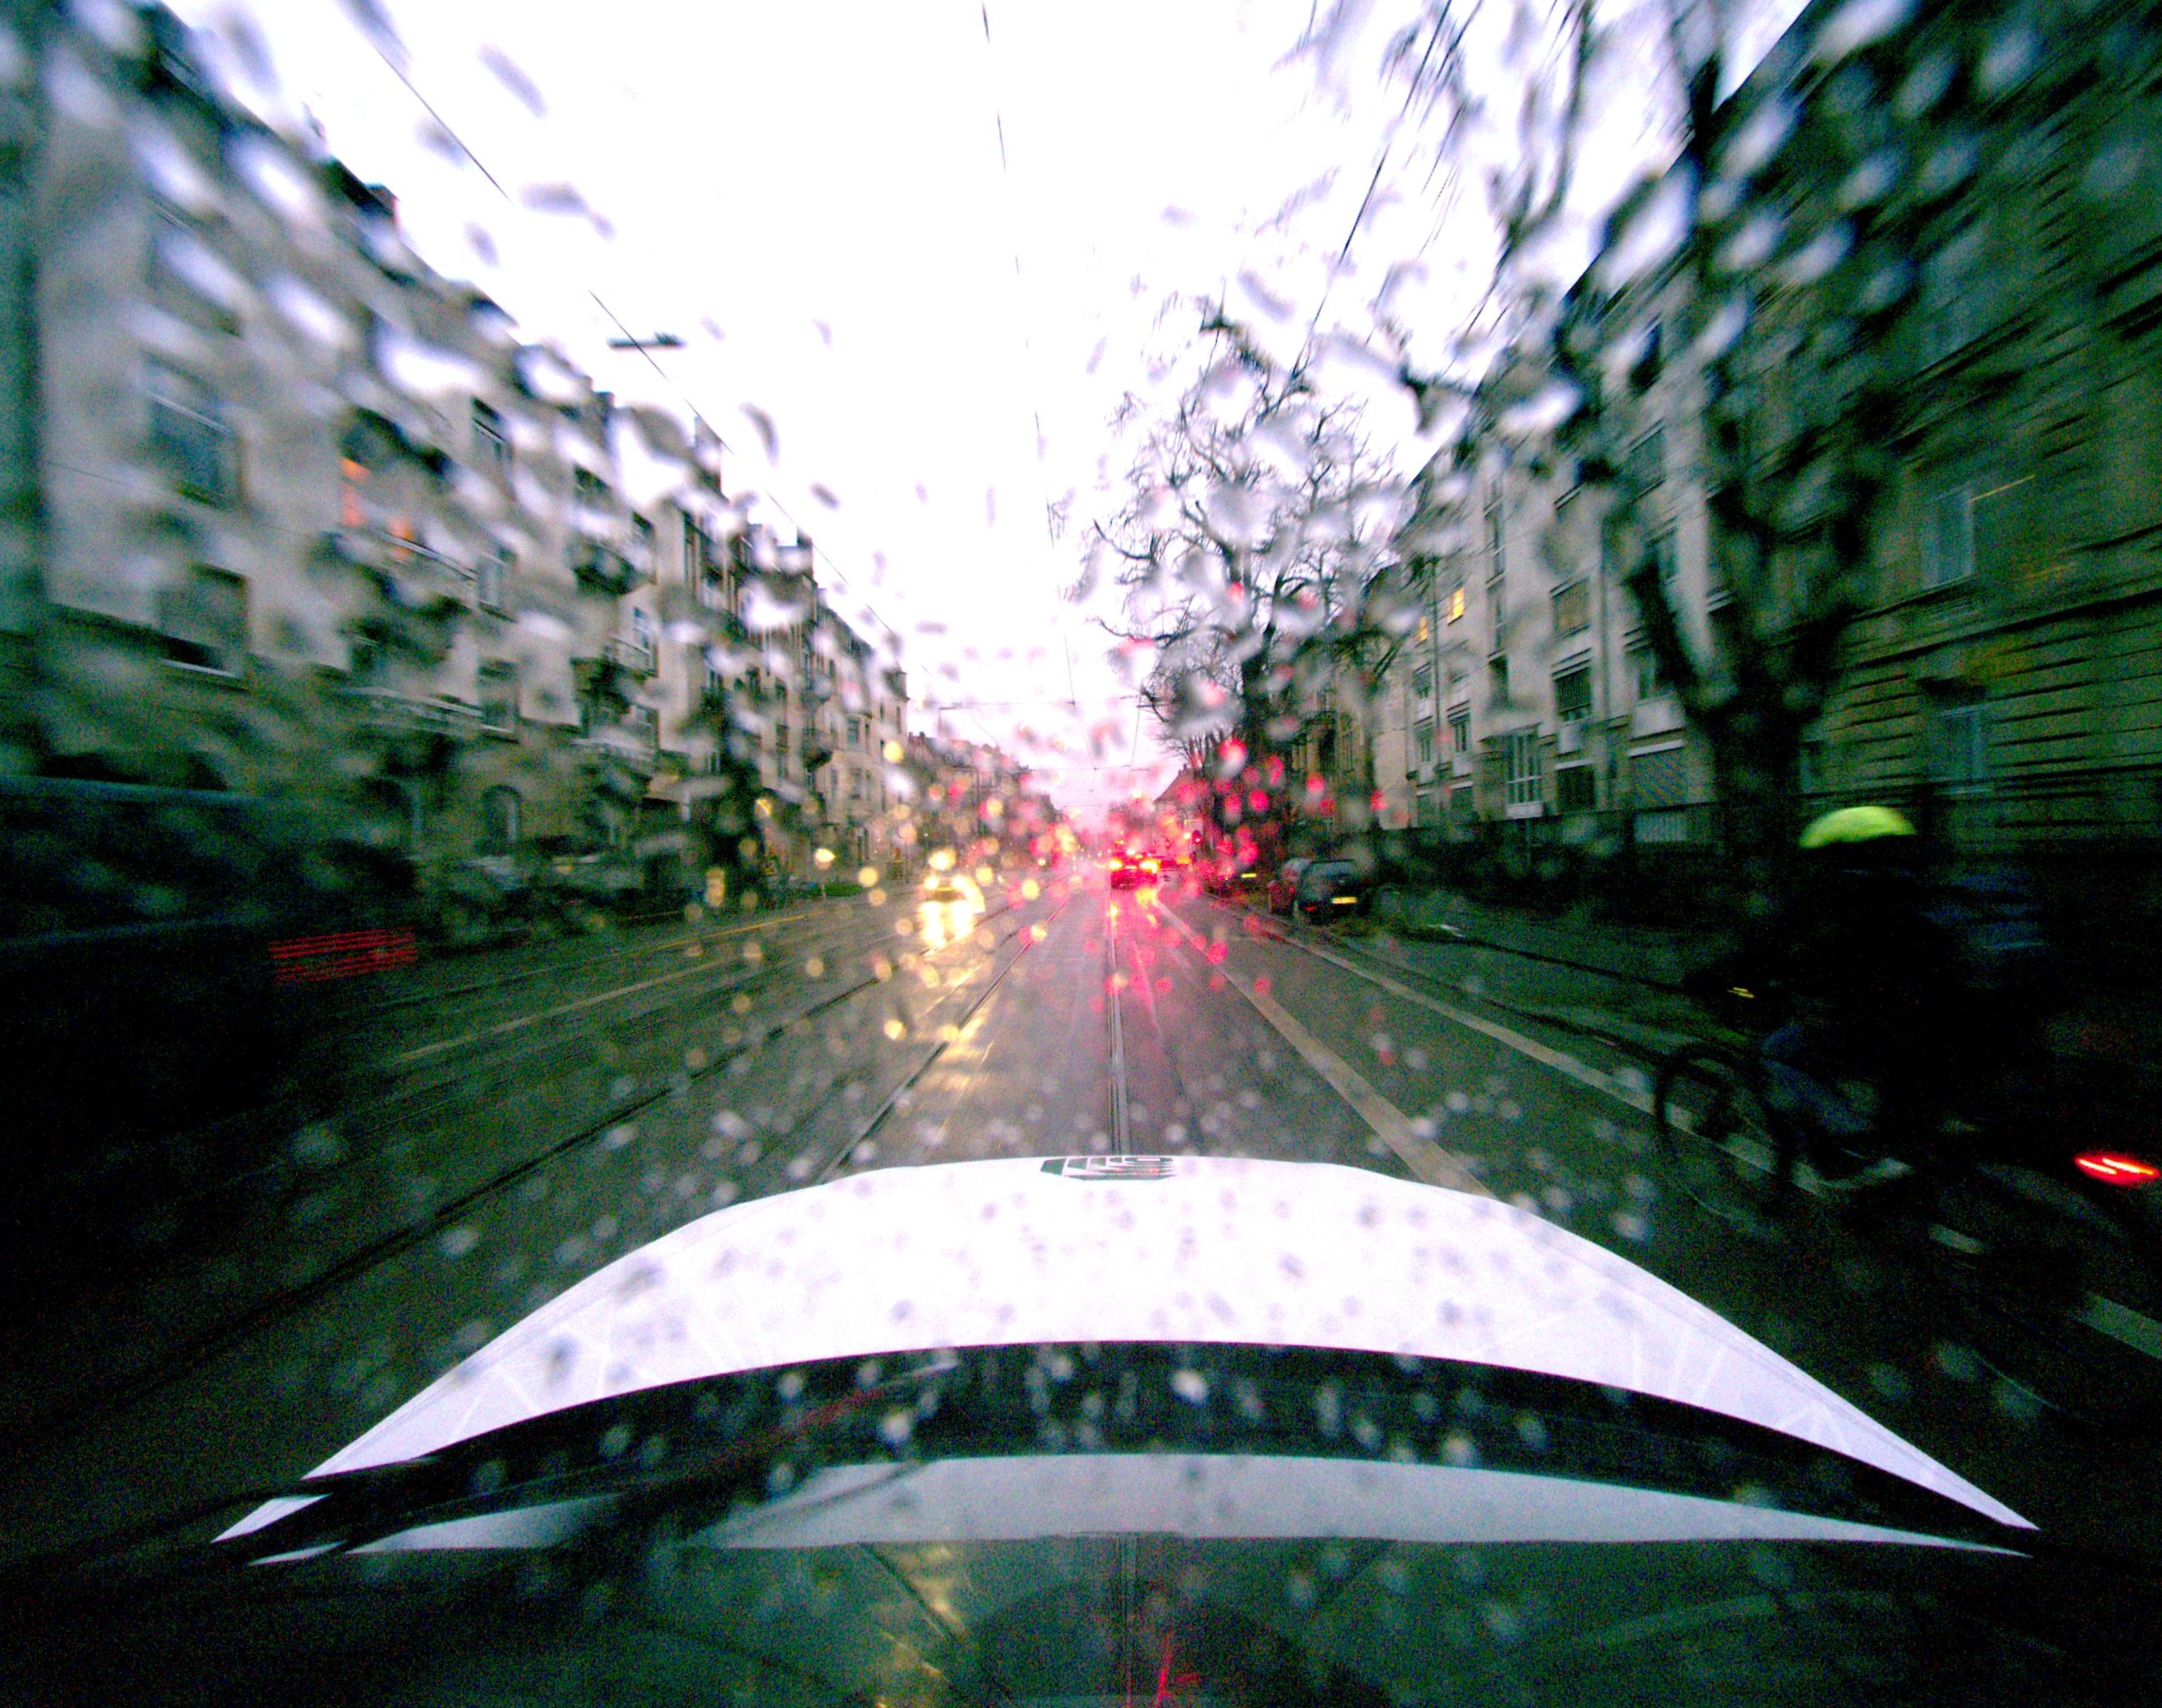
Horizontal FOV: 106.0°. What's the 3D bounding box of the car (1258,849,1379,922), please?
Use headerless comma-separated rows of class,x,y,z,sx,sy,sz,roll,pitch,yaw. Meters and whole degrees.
car,5.440,0.657,19.147,1.671,1.460,4.043,-2,0,1

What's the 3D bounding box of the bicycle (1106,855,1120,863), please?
bicycle,4.927,0.743,125.754,2.106,1.133,0.555,-3,1,-13

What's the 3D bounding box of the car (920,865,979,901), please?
car,-5.181,1.112,32.542,1.655,1.198,3.874,-2,1,0

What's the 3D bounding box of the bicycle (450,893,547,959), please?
bicycle,-10.322,1.247,14.495,0.691,1.031,1.592,-2,-1,-7

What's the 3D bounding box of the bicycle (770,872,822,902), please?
bicycle,-11.494,1.313,32.867,1.802,1.080,0.615,-2,1,-6

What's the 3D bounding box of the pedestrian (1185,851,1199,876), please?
pedestrian,9.351,0.793,68.556,1.019,2.013,0.919,-2,0,-2

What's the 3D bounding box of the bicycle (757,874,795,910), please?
bicycle,-10.172,1.257,27.208,0.613,1.080,1.809,-2,1,-3

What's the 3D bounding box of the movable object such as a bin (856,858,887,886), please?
movable object such as a bin,-12.432,1.074,48.417,1.404,1.530,1.365,-2,1,1

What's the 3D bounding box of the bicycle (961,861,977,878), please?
bicycle,-7.666,1.063,55.846,0.714,1.110,2.065,-2,1,1

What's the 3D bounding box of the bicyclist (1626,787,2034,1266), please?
bicyclist,2.566,0.525,2.907,0.653,1.446,0.850,-2,1,3

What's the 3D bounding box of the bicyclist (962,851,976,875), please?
bicyclist,-7.689,0.592,55.906,0.714,1.602,0.931,-2,1,0

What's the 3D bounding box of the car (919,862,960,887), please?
car,-9.372,1.343,54.100,1.826,1.447,4.002,-2,1,2

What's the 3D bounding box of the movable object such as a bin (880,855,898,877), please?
movable object such as a bin,-14.600,0.932,61.958,1.009,1.600,1.082,-2,1,4

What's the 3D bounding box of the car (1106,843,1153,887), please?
car,2.208,0.530,38.393,1.986,1.897,4.759,-1,-1,1

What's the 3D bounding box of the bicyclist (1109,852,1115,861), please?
bicyclist,4.808,0.334,125.730,0.823,1.376,0.555,-2,0,-12

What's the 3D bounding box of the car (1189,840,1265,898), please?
car,5.373,0.484,30.675,1.986,1.900,5.028,-2,1,1

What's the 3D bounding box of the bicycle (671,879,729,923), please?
bicycle,-10.075,1.215,21.596,0.623,1.017,1.805,-3,0,0

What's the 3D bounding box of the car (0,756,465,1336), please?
car,-4.631,0.682,2.139,2.039,1.922,5.099,-2,1,0

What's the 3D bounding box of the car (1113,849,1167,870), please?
car,5.426,0.518,75.308,4.926,1.717,1.698,-2,1,2

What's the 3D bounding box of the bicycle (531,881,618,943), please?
bicycle,-10.242,1.143,16.542,0.484,1.099,1.931,-3,0,0

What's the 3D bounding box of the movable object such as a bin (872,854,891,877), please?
movable object such as a bin,-14.550,0.804,59.405,1.009,1.600,1.082,-2,1,4

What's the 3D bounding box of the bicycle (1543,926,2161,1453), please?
bicycle,2.602,0.935,3.048,0.704,1.096,2.032,-2,1,5

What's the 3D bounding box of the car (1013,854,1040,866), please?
car,-8.259,0.879,124.305,3.983,1.716,1.899,-2,1,-7
